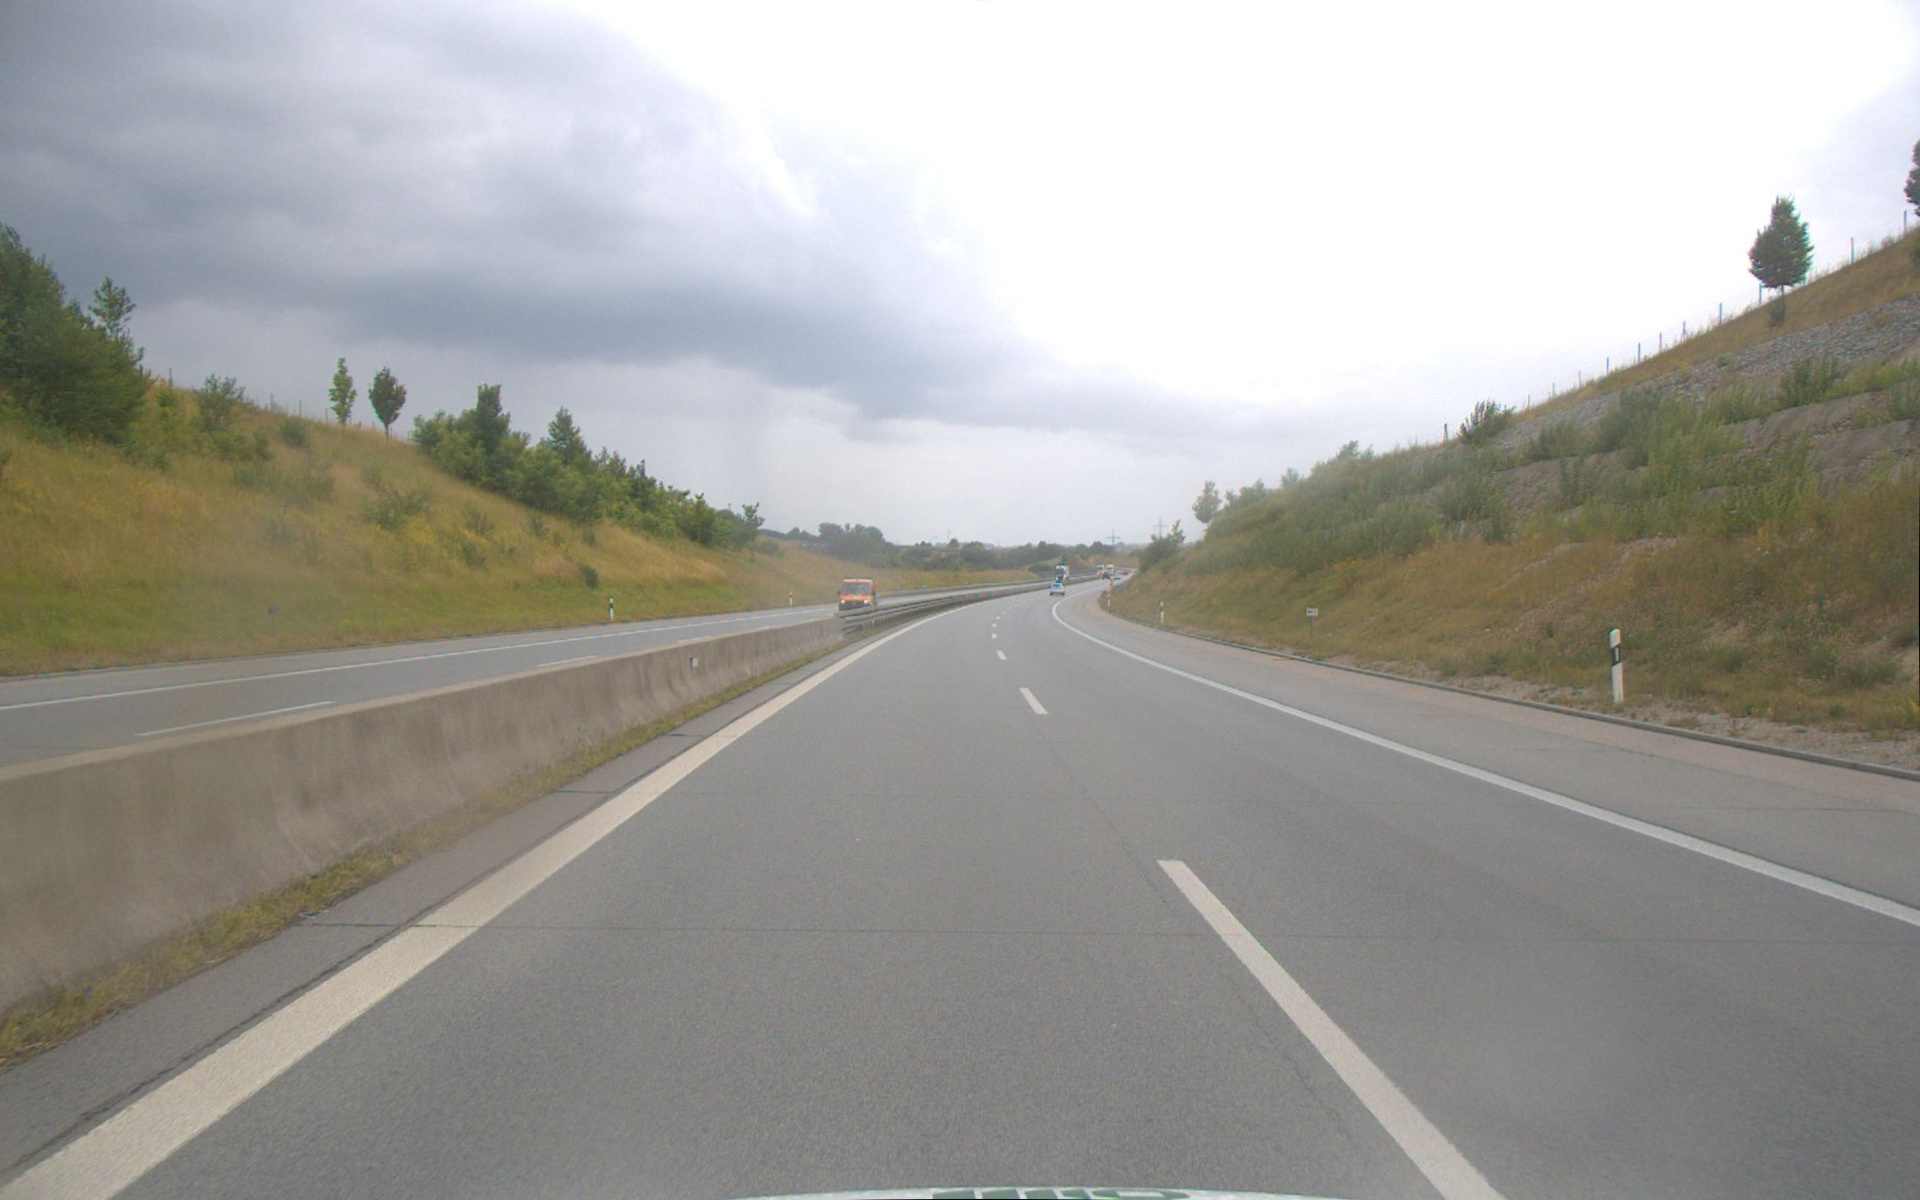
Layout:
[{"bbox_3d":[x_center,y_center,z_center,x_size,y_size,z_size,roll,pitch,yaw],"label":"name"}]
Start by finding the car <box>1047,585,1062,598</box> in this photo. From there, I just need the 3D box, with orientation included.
[{"bbox_3d":[12.541,-1.111,220.081,1.915,1.680,4.002,0,0,3],"label":"car"}]

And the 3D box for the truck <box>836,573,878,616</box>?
[{"bbox_3d":[-6.296,-0.331,101.885,2.145,2.553,6.554,0,0,1],"label":"truck"}]
